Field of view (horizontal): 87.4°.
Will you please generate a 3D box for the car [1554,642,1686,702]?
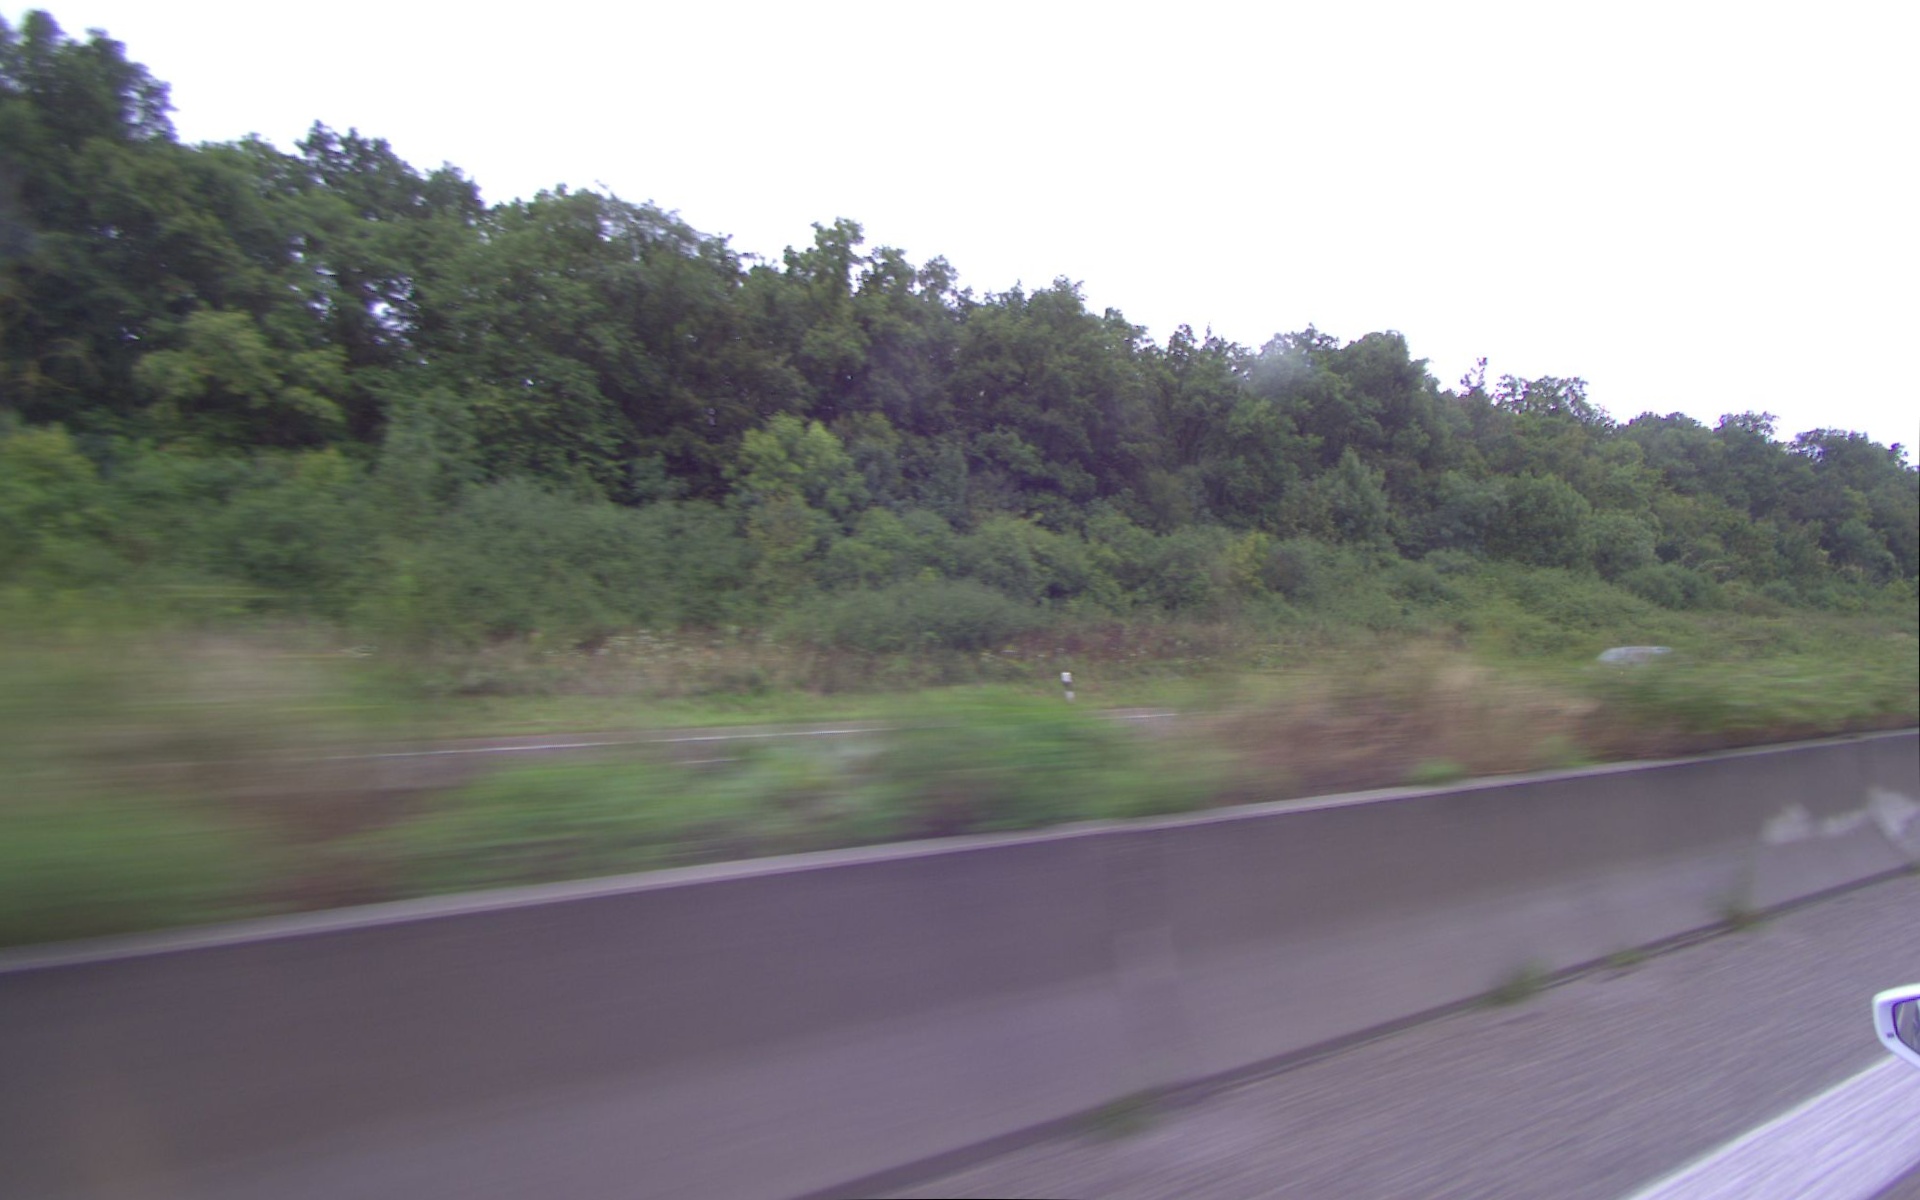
[{"bbox_3d":[19.636,2.086,29.843,3.951,1.653,1.635,1,-2,-29],"label":"car"}]
